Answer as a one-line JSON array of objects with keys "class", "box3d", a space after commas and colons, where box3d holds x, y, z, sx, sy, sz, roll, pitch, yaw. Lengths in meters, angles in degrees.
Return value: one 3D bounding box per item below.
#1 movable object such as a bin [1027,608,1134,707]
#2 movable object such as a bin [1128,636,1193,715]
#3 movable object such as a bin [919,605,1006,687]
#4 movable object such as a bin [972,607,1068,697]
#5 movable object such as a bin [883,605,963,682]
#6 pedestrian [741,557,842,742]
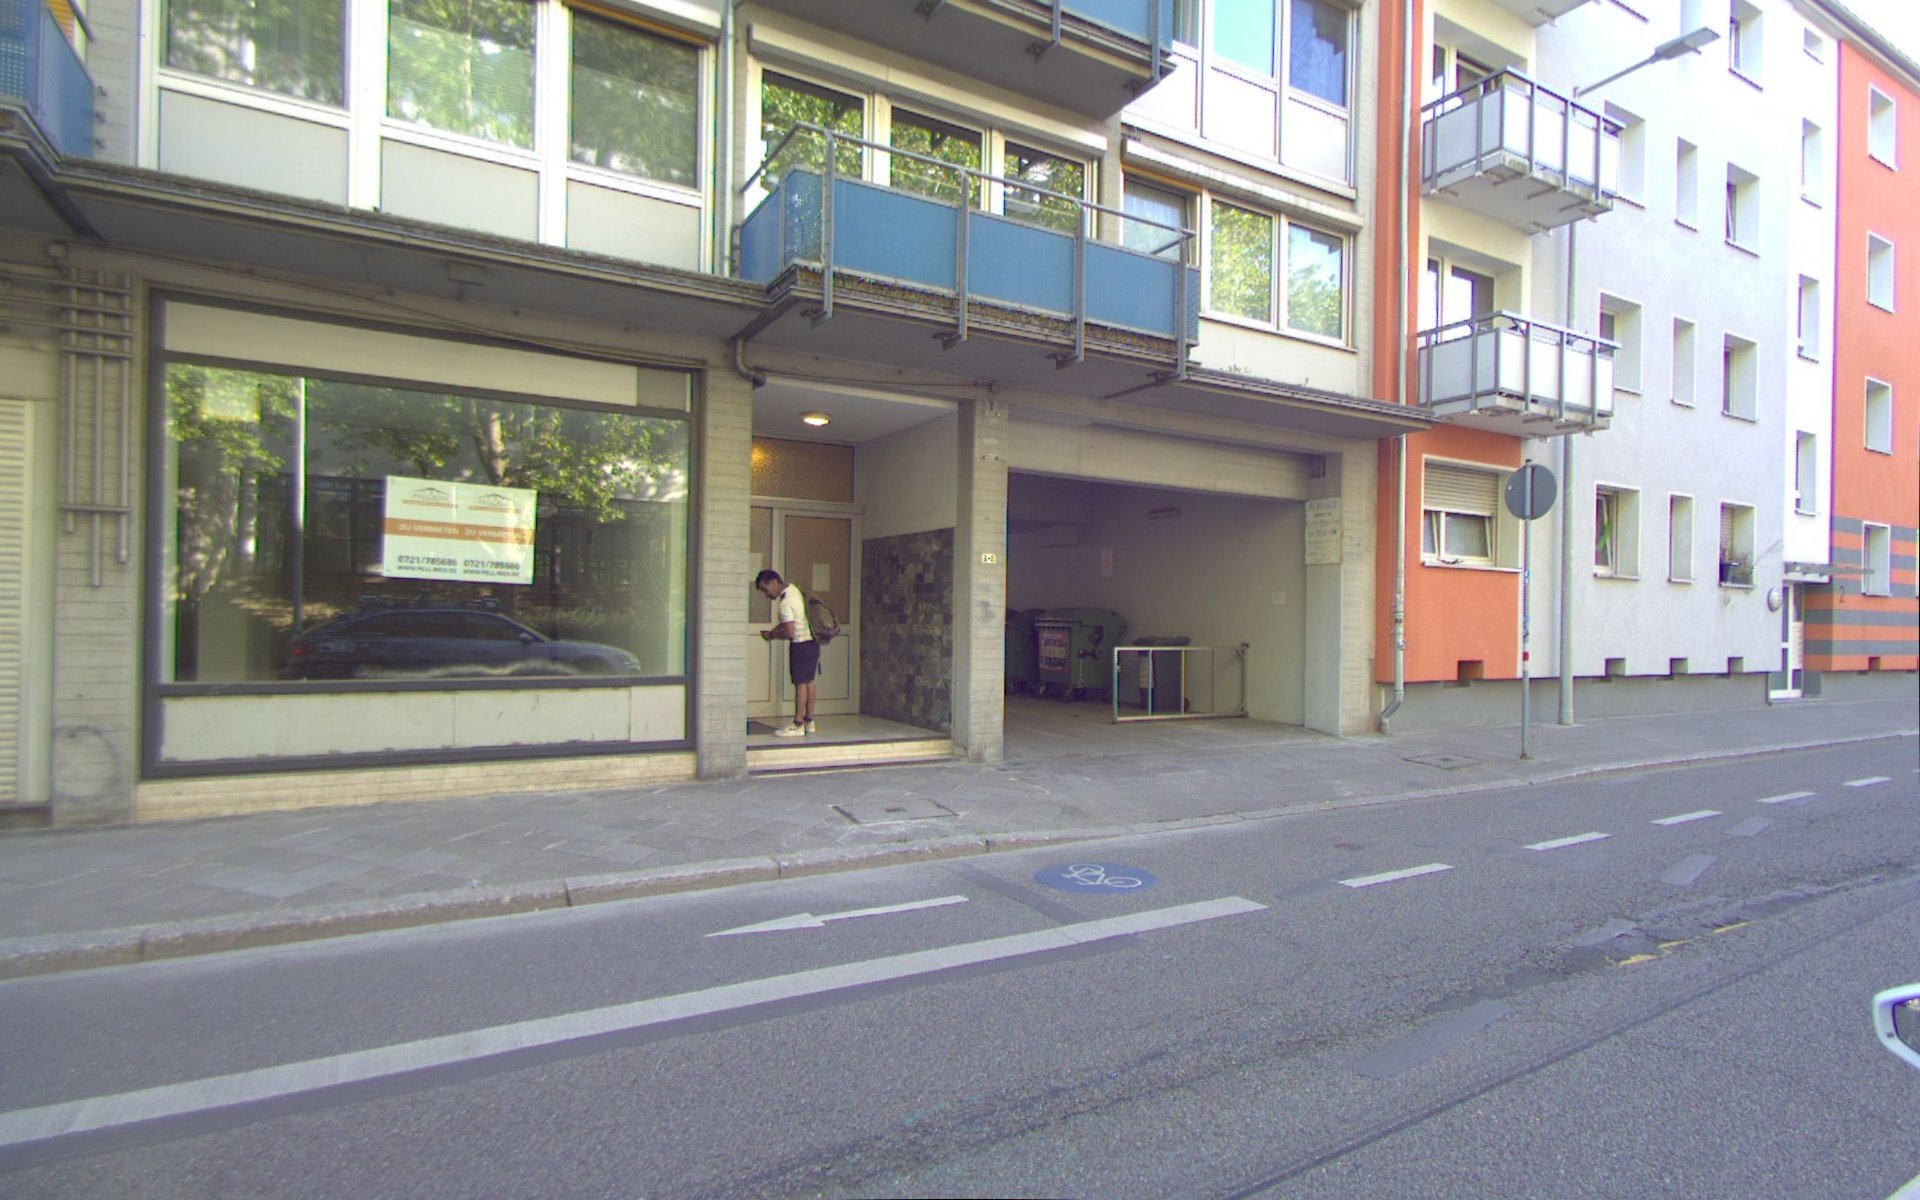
[{"class": "movable object such as a bin", "box3d": [1.877, 0.880, 15.812, 1.120, 1.444, 1.268, 2, 0, -28]}, {"class": "movable object such as a bin", "box3d": [2.889, 1.079, 14.488, 0.713, 1.094, 0.533, 2, 0, -29]}, {"class": "movable object such as a bin", "box3d": [0.030, 0.838, 18.697, 1.120, 1.444, 1.268, 2, 0, -28]}, {"class": "movable object such as a bin", "box3d": [1.010, 0.863, 17.154, 1.120, 1.444, 1.268, 2, 0, -28]}, {"class": "movable object such as a bin", "box3d": [-0.740, 0.842, 19.789, 1.120, 1.444, 1.268, 2, 0, -28]}, {"class": "pedestrian", "box3d": [-1.563, 0.450, 9.455, 0.821, 1.639, 0.793, 2, 0, -4]}]
